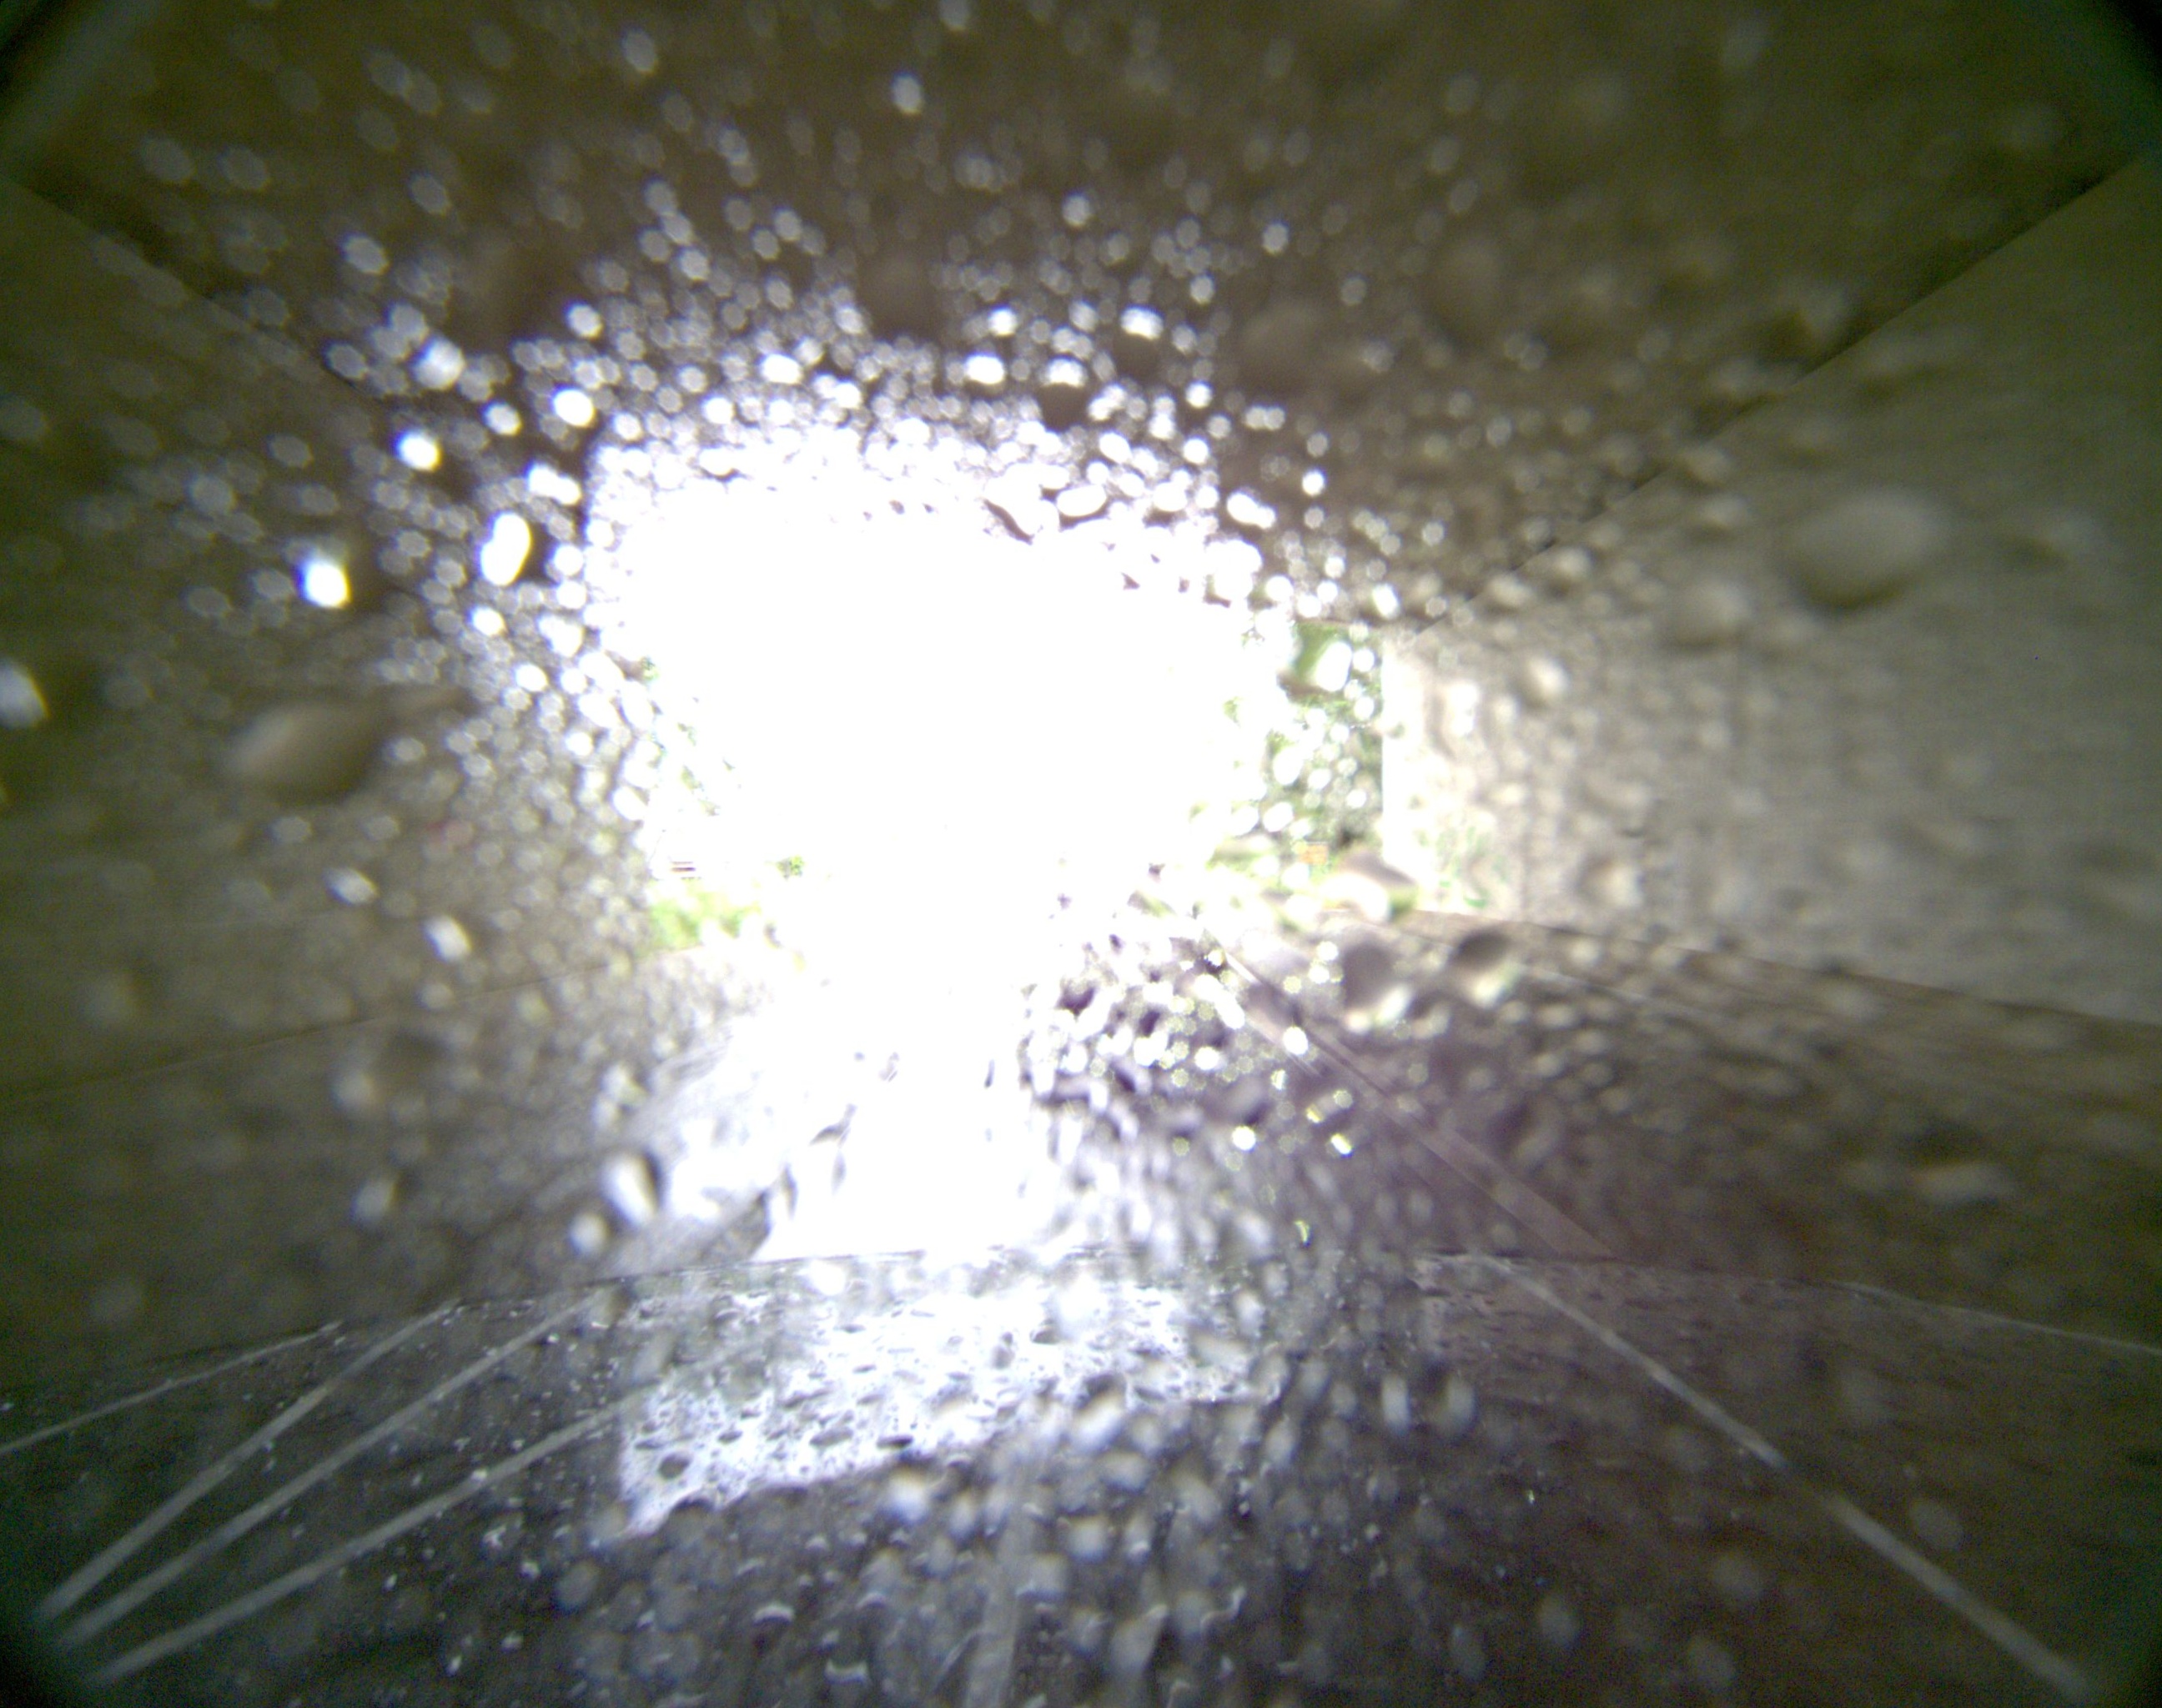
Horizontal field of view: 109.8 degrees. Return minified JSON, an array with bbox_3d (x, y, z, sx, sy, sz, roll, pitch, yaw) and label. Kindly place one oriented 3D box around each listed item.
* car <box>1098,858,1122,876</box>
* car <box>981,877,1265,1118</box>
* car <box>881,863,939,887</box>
[{"bbox_3d":[2.541,1.085,67.099,1.695,1.478,4.071,-2,0,-3],"label":"car"},{"bbox_3d":[0.244,0.988,7.162,1.767,1.316,4.548,-3,0,-1],"label":"car"},{"bbox_3d":[-12.939,1.571,57.514,3.862,1.523,1.715,-3,1,-33],"label":"car"}]
